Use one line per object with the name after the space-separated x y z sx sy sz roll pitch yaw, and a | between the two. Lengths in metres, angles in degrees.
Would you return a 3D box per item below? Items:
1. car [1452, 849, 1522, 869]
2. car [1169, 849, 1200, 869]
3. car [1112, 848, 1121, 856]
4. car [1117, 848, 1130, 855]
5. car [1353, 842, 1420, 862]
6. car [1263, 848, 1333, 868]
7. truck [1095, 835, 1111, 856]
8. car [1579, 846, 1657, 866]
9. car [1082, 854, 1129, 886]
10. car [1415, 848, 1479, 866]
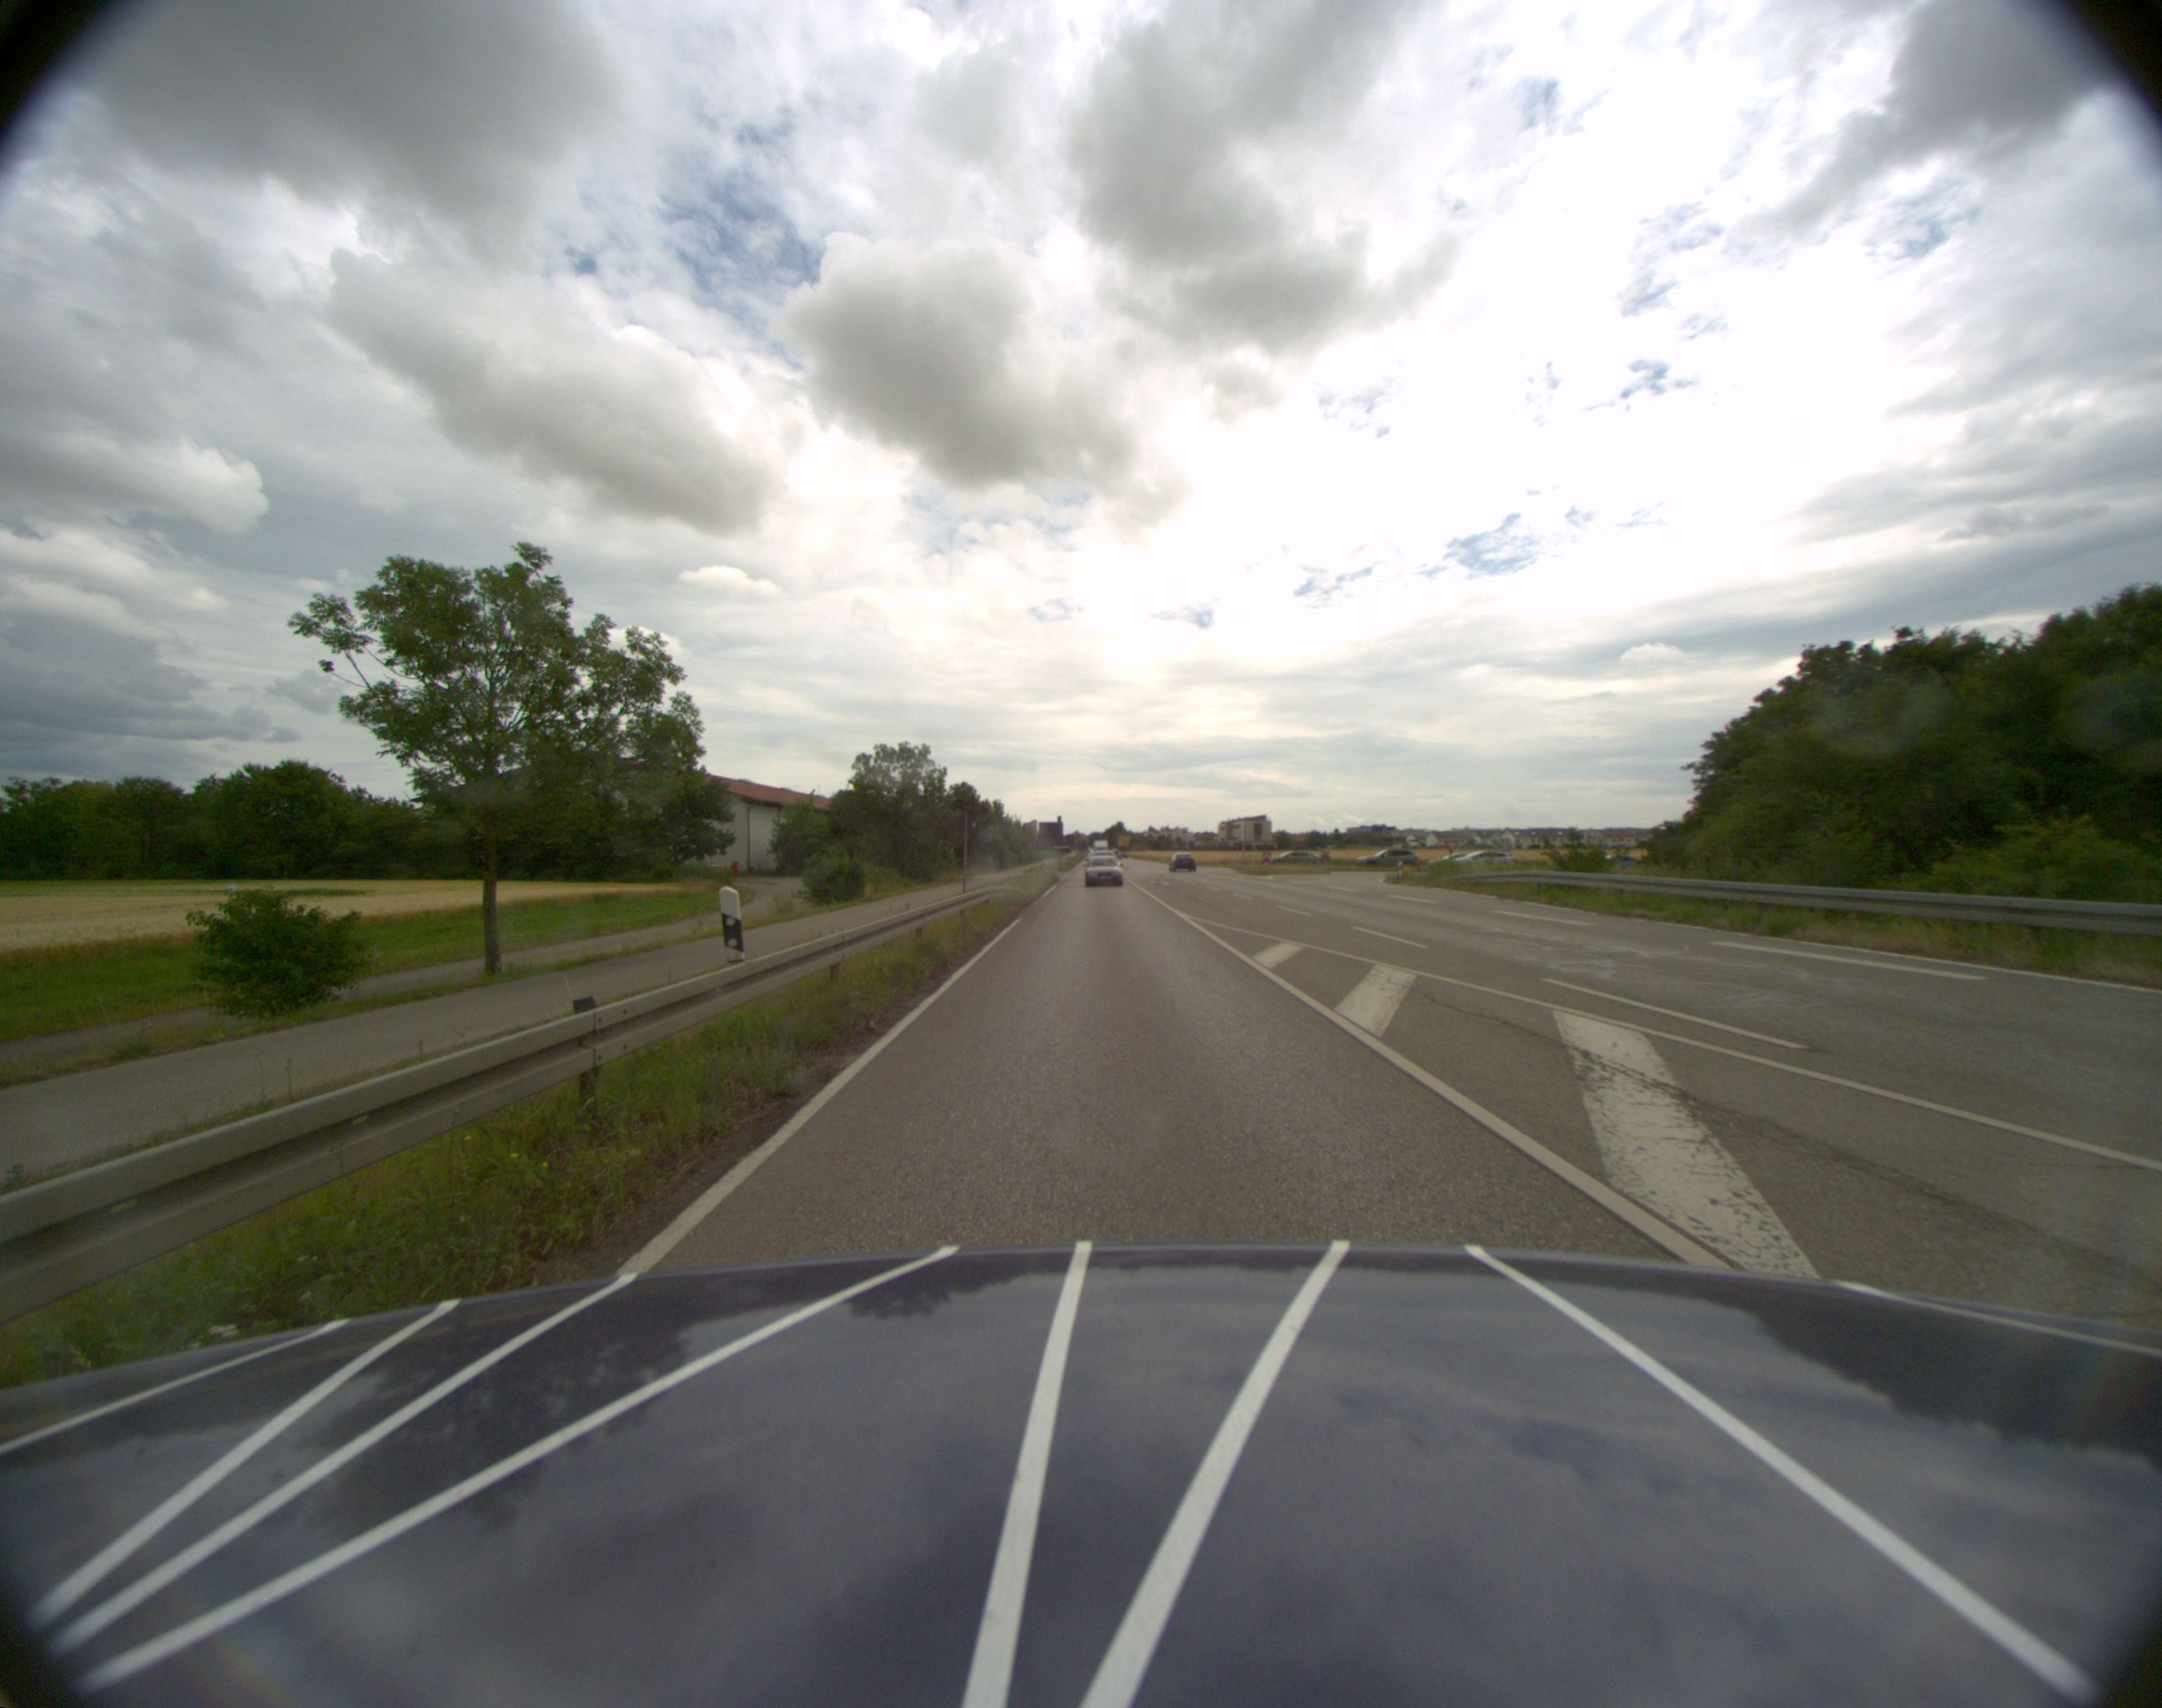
31.875 0.368 59.805 4.499 1.474 1.912 0 1 7 | car
7.850 0.359 57.886 1.867 1.368 4.000 -2 1 2 | car
7.854 -0.457 166.713 1.746 1.521 4.198 -1 0 -1 | car
8.178 -0.463 147.220 2.170 1.277 4.237 -2 1 0 | car
24.564 -0.153 61.219 4.632 1.508 1.912 0 1 7 | car
17.649 0.314 61.968 5.295 1.512 1.912 0 1 7 | car
4.092 -1.593 141.916 2.813 3.588 11.218 0 1 2 | truck
41.370 0.165 58.632 4.499 1.474 1.912 0 1 7 | car
1.257 0.722 36.845 1.908 1.416 4.467 0 1 7 | car
30.266 0.225 62.960 4.406 1.474 1.912 0 1 7 | car
